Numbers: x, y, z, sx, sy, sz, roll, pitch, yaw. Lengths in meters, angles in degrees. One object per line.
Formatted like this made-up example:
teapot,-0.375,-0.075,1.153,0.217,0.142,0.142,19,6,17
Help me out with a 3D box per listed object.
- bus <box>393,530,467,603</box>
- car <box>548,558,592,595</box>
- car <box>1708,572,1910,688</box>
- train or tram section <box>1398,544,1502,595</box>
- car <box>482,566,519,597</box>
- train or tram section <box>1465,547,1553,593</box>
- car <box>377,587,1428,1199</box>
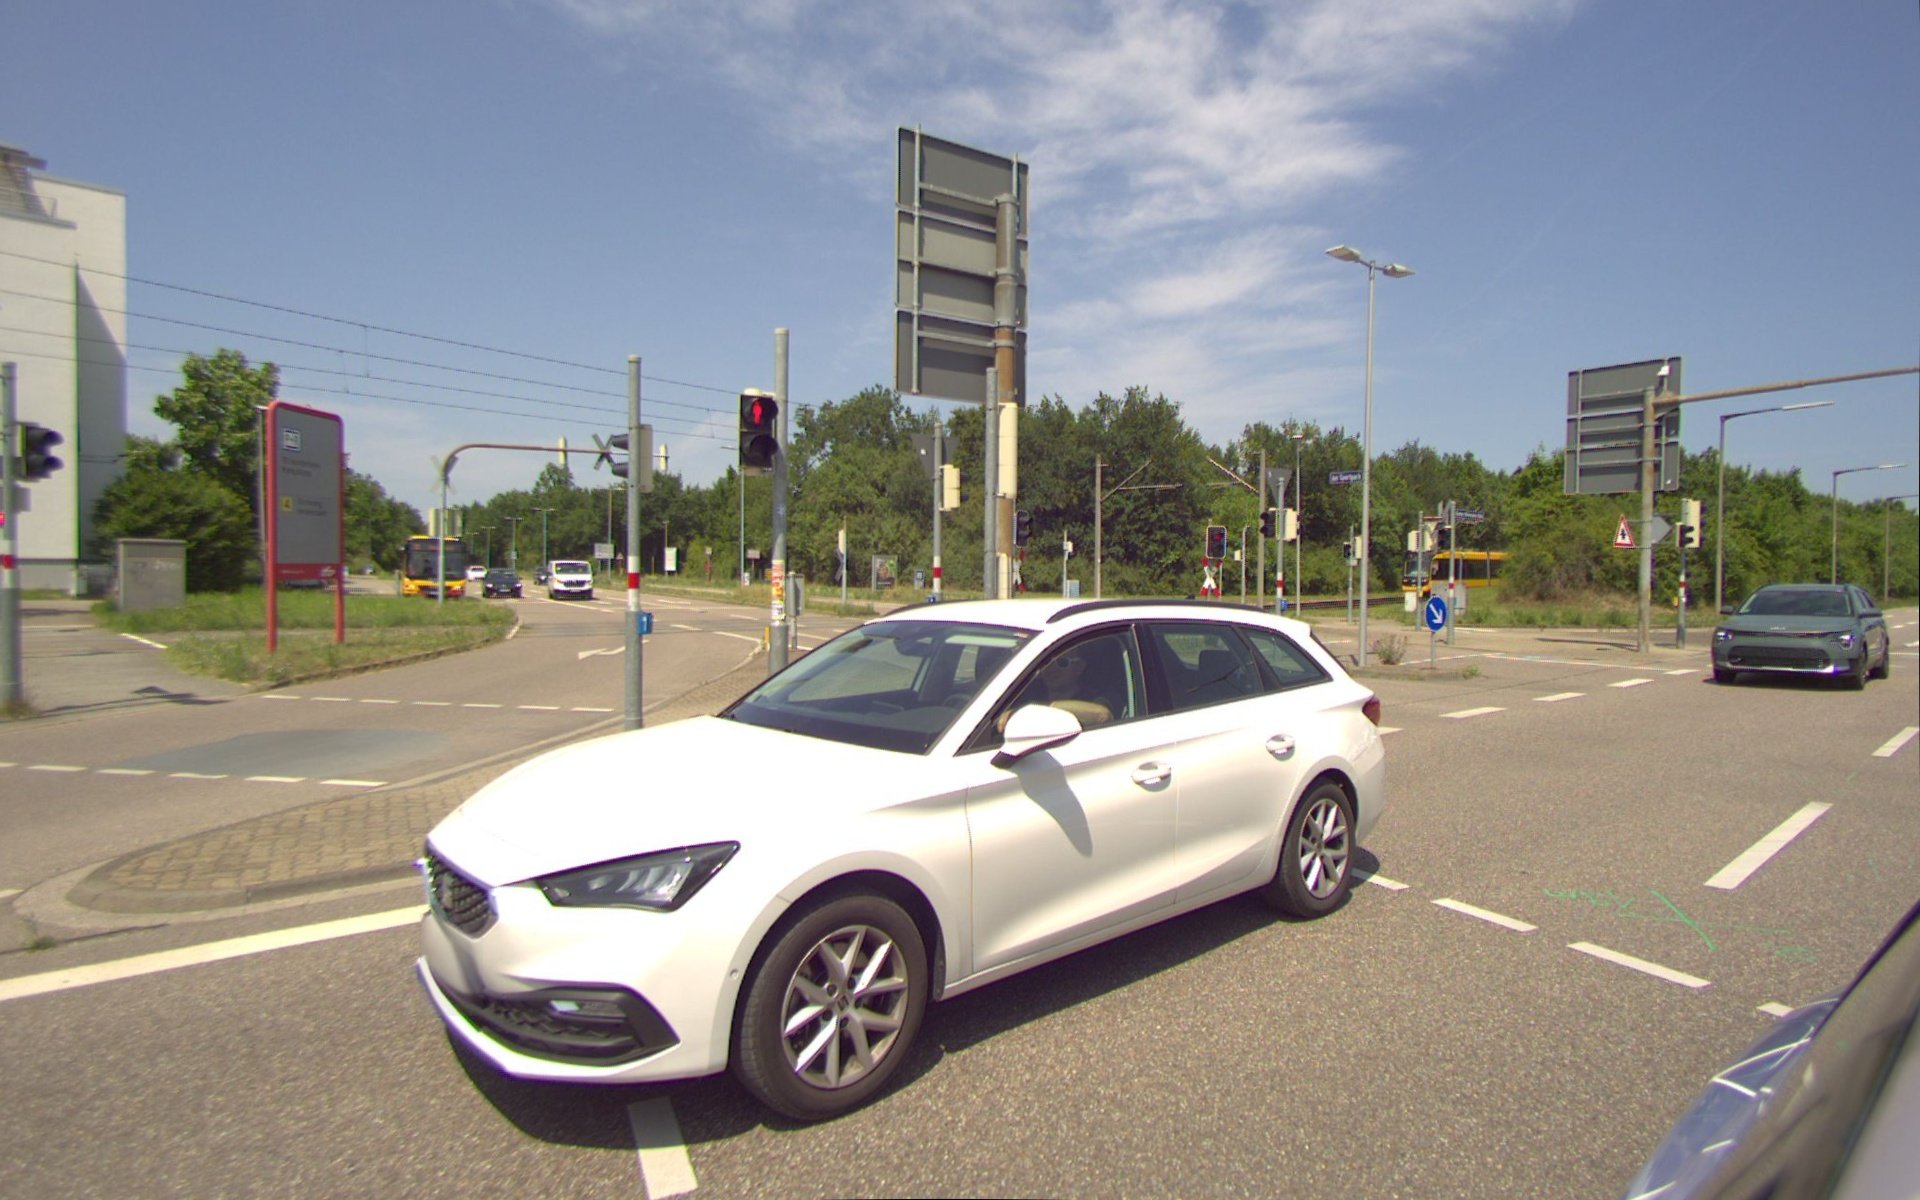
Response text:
bus,-26.300,-1.582,49.888,2.783,3.158,12.093,-2,2,-30
car,-19.723,-1.145,51.082,1.790,1.750,5.081,-1,1,-24
car,13.563,0.375,16.102,3.928,1.616,1.723,-1,2,-39
train or tram section,37.377,-2.295,76.868,12.291,3.626,2.817,-1,1,-43
car,-24.410,-0.984,53.666,1.640,1.599,4.006,0,1,-27
train or tram section,46.442,-2.458,85.314,12.292,3.626,2.817,-1,1,-43
car,0.159,0.664,4.321,4.373,1.407,1.685,-1,1,-41
